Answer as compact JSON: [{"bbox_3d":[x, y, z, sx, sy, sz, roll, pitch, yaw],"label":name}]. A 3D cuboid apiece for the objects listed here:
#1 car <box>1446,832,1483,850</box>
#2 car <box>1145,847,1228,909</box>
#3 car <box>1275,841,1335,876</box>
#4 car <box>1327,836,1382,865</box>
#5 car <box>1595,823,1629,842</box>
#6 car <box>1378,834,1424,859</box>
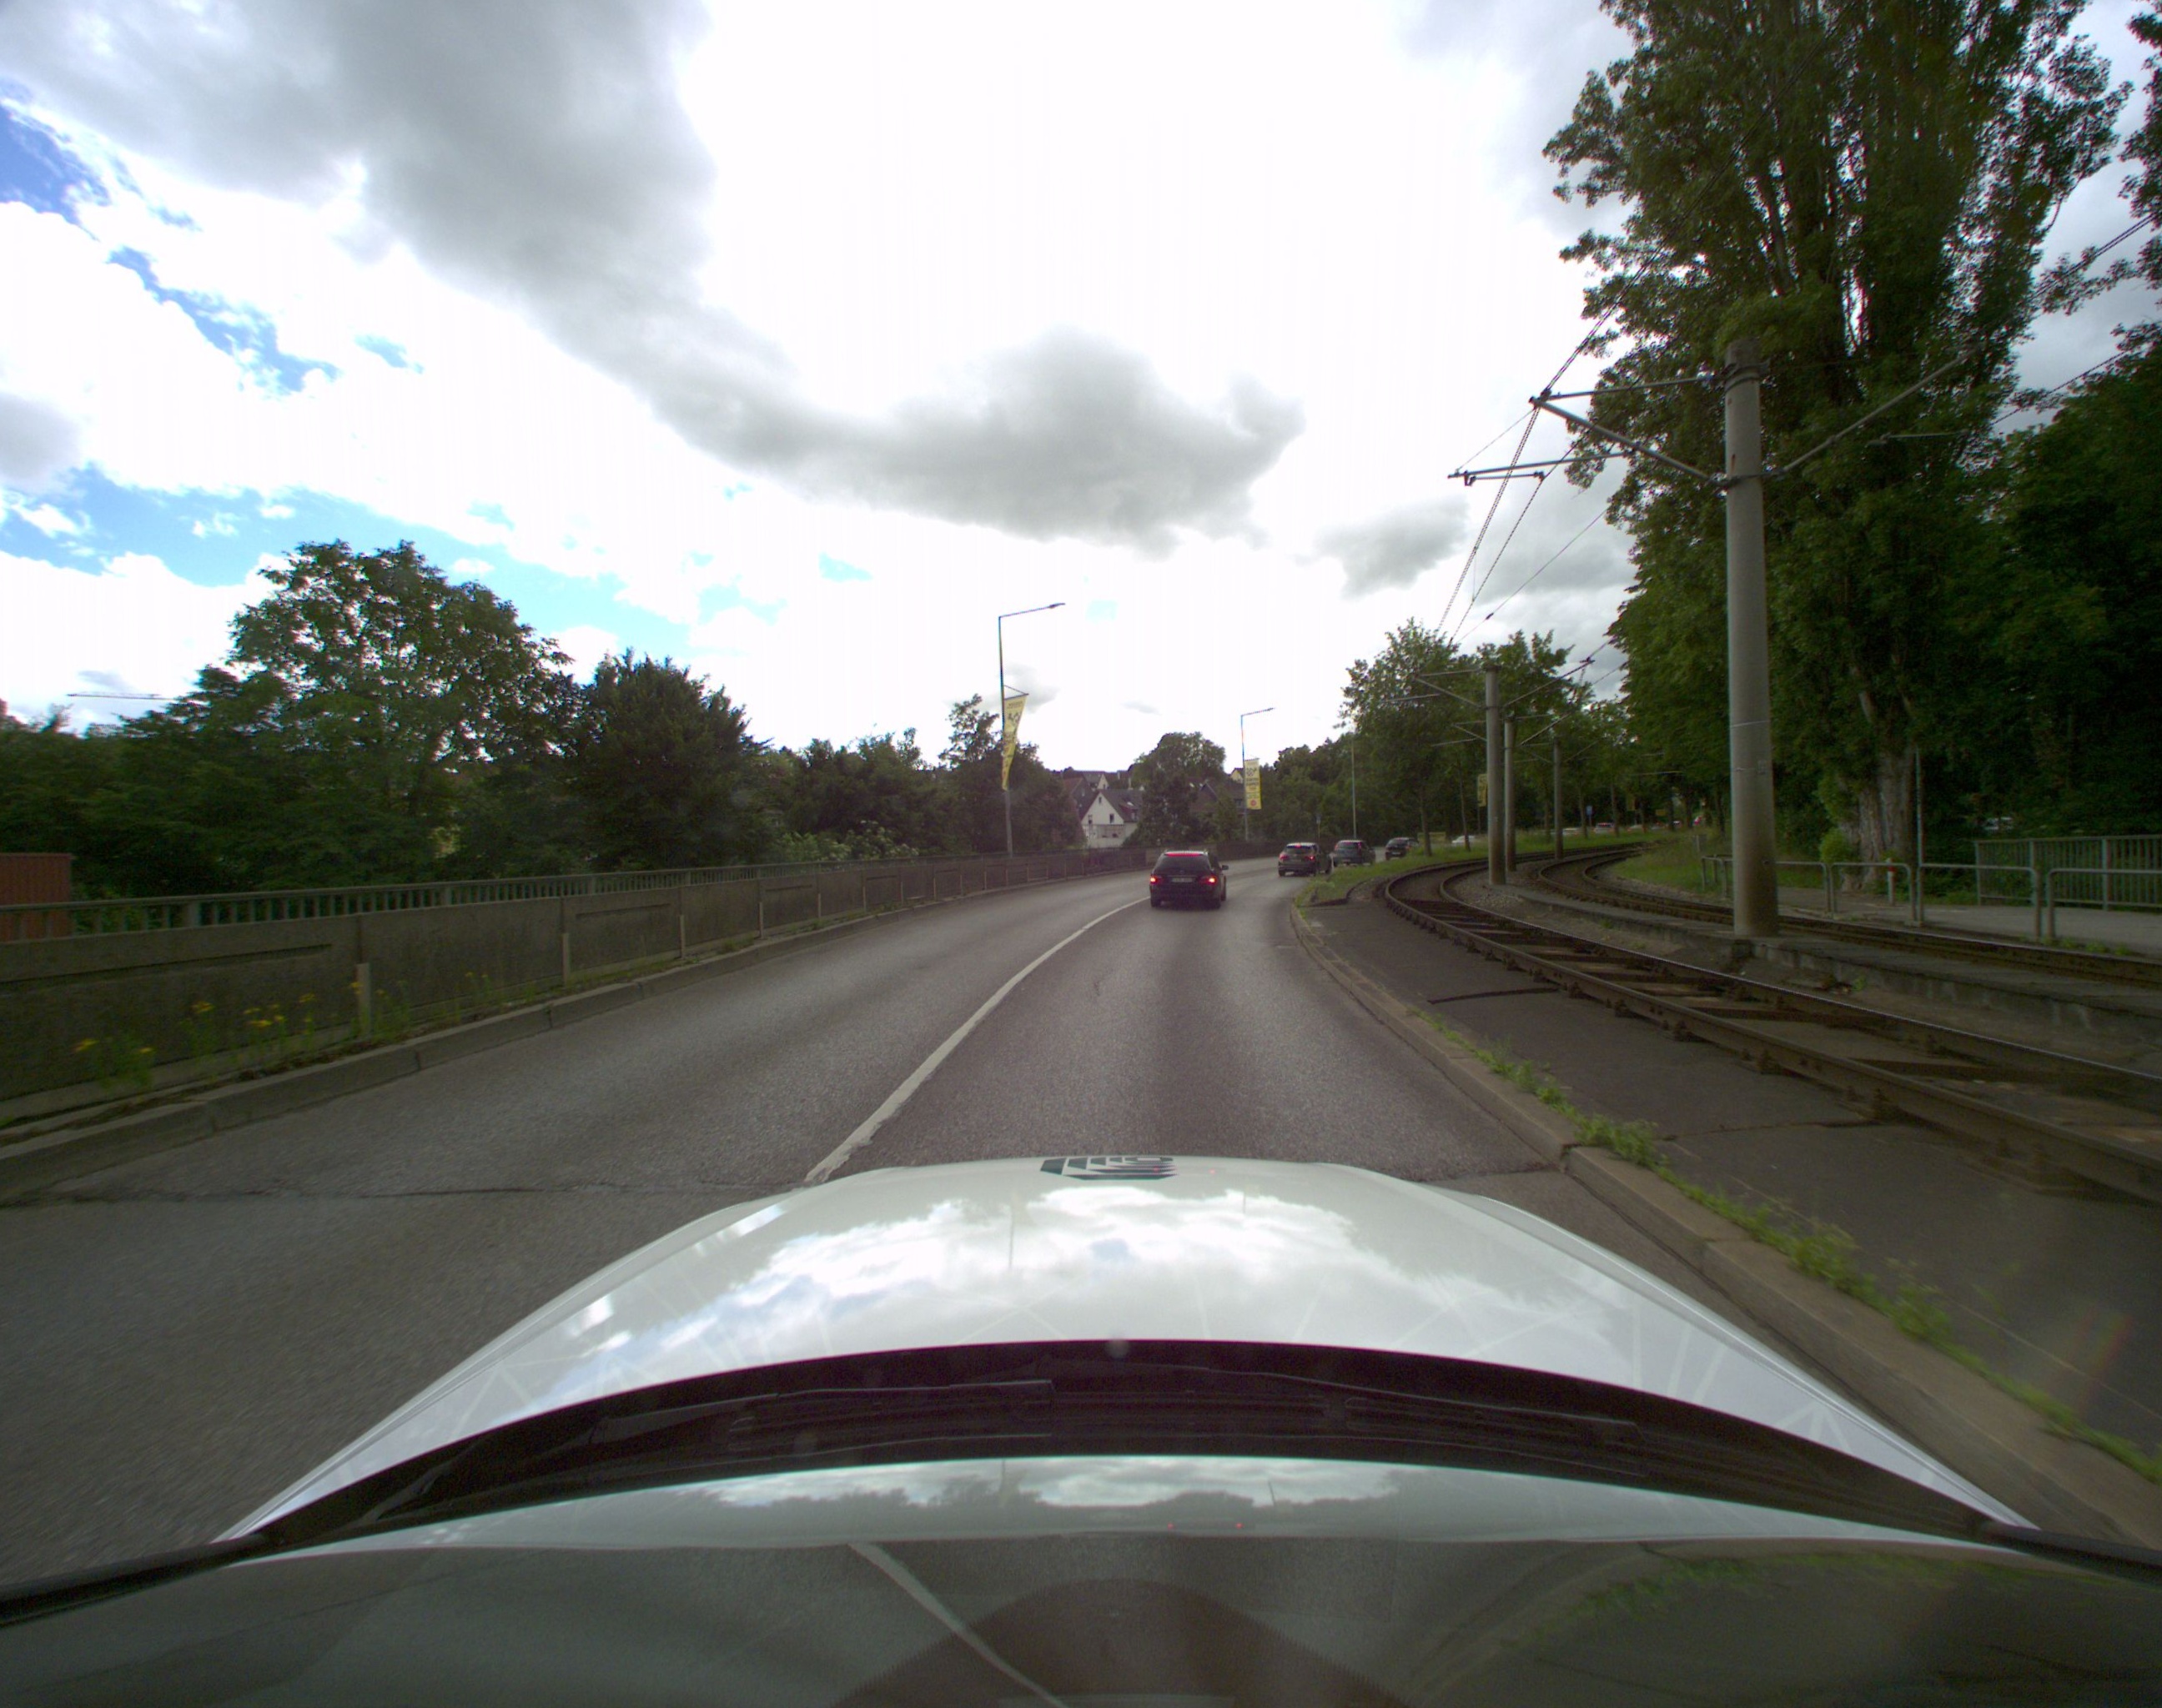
[{"bbox_3d":[29.962,-1.028,63.552,1.486,1.364,3.609,-1,0,44],"label":"car"},{"bbox_3d":[2.976,0.561,22.153,1.839,1.486,4.436,1,1,12],"label":"car"},{"bbox_3d":[10.579,0.176,38.240,1.758,1.494,4.025,1,2,30],"label":"car"},{"bbox_3d":[15.314,-0.232,45.562,1.874,1.574,4.026,0,1,35],"label":"car"},{"bbox_3d":[55.004,-2.265,84.354,4.021,1.859,1.912,-2,0,-40],"label":"car"},{"bbox_3d":[20.698,-0.523,52.581,1.562,1.538,4.026,-1,0,39],"label":"car"}]
